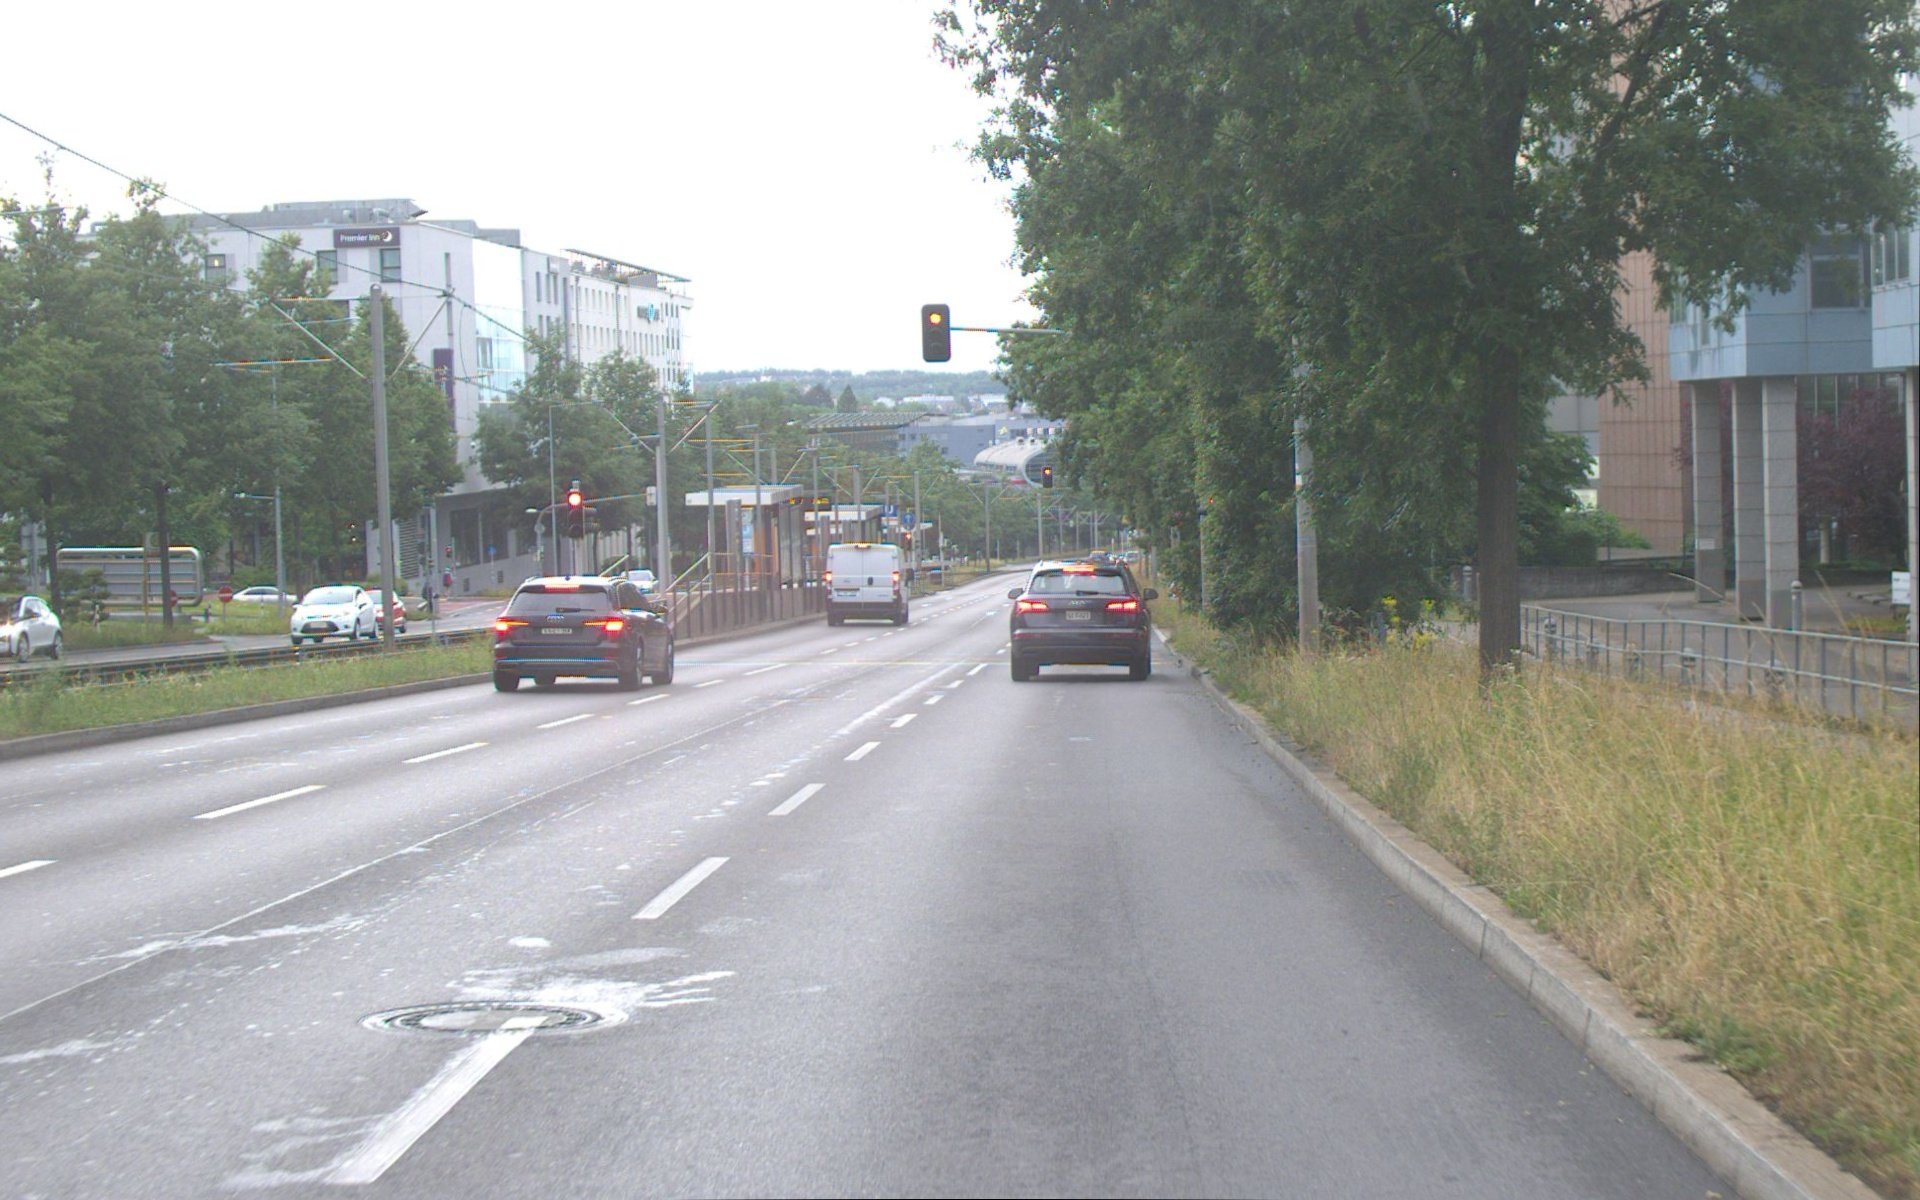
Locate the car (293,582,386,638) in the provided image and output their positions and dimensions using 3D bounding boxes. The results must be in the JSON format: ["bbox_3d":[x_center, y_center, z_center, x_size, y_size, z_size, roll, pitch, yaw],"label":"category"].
[{"bbox_3d":[-16.057,0.247,89.054,1.663,1.437,3.896,0,0,1],"label":"car"}]

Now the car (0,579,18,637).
[{"bbox_3d":[-32.533,0.248,109.753,4.322,1.803,2.099,0,2,-1],"label":"car"}]

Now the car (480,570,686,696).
[{"bbox_3d":[-4.713,0.375,43.614,1.786,1.409,4.806,0,2,4],"label":"car"}]

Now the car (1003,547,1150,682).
[{"bbox_3d":[1.567,0.163,47.595,1.922,1.704,4.098,0,2,0],"label":"car"}]

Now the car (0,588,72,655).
[{"bbox_3d":[-22.342,0.487,80.987,1.663,1.539,3.896,0,0,3],"label":"car"}]

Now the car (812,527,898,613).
[{"bbox_3d":[-2.944,-0.869,95.477,2.267,2.277,4.760,0,2,-3],"label":"car"}]
